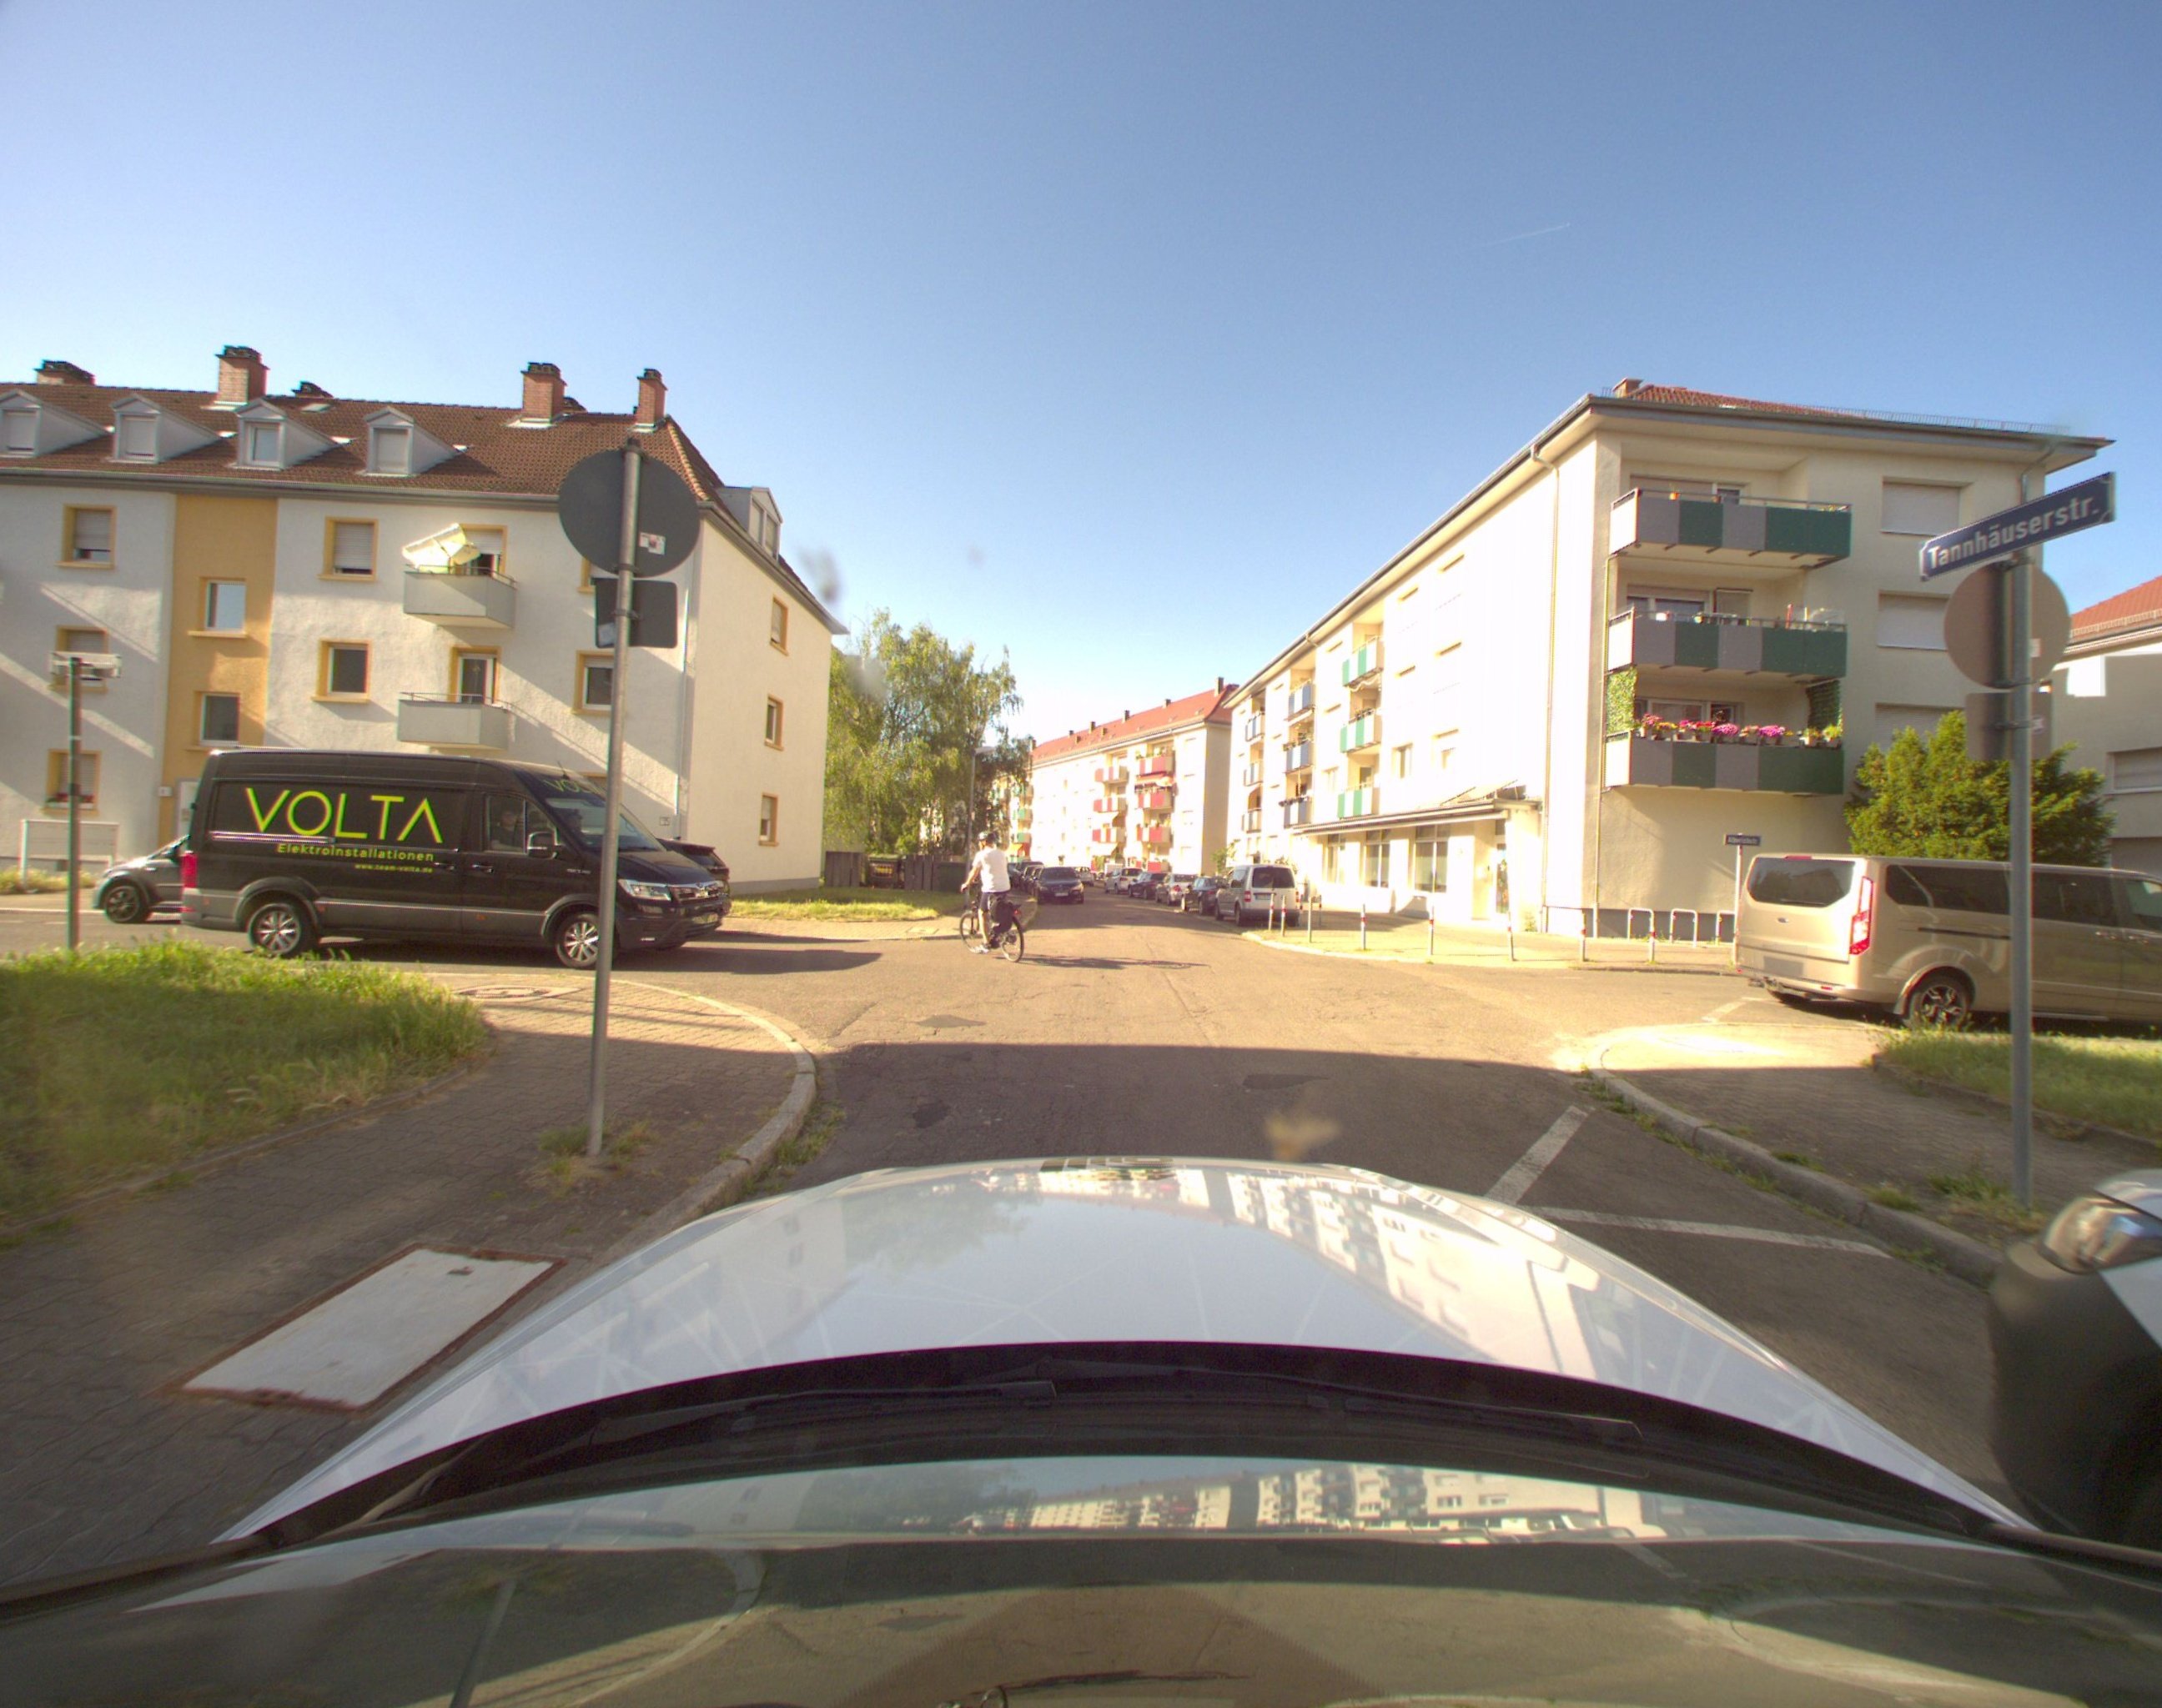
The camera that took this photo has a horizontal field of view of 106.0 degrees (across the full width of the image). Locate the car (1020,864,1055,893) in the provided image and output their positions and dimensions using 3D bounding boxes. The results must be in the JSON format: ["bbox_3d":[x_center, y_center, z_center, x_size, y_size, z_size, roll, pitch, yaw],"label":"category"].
[{"bbox_3d":[-2.348,1.295,43.463,1.554,1.442,3.957,-1,-1,-8],"label":"car"}]

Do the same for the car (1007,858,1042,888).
[{"bbox_3d":[-3.471,1.123,49.410,1.556,1.714,4.320,-1,-1,-11],"label":"car"}]

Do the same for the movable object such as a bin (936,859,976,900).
[{"bbox_3d":[-4.463,0.909,29.172,1.215,1.380,0.768,3,-1,3],"label":"movable object such as a bin"}]

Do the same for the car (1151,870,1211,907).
[{"bbox_3d":[4.426,1.500,36.732,1.675,1.447,4.715,2,0,-5],"label":"car"}]

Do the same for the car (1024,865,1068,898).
[{"bbox_3d":[-1.685,1.251,38.294,1.677,1.442,4.268,-1,-1,-8],"label":"car"}]

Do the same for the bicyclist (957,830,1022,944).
[{"bbox_3d":[-1.335,0.470,11.797,0.599,1.579,0.899,3,-1,-26],"label":"bicyclist"}]

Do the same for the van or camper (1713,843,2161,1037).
[{"bbox_3d":[11.127,0.977,10.034,5.107,2.013,2.000,2,1,-1],"label":"van or camper"}]

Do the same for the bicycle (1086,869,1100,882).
[{"bbox_3d":[1.020,1.844,70.378,0.499,1.020,1.828,1,-1,-21],"label":"bicycle"}]

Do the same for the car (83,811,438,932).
[{"bbox_3d":[-13.375,0.295,13.467,3.977,1.789,1.719,1,-2,0],"label":"car"}]

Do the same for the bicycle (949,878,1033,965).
[{"bbox_3d":[-1.337,0.928,11.763,0.630,1.115,1.801,3,-1,-25],"label":"bicycle"}]

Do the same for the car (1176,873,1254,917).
[{"bbox_3d":[4.922,1.468,30.490,1.676,1.407,4.535,2,0,-7],"label":"car"}]

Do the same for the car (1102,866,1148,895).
[{"bbox_3d":[2.597,1.538,49.174,1.695,1.656,4.372,1,-1,-12],"label":"car"}]

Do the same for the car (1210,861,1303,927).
[{"bbox_3d":[5.250,1.145,24.893,1.743,1.824,4.126,-1,-1,-4],"label":"car"}]

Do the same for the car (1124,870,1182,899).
[{"bbox_3d":[3.681,1.553,42.537,1.695,1.432,4.667,1,-1,-12],"label":"car"}]

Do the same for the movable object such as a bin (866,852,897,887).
[{"bbox_3d":[-8.367,0.634,34.255,1.058,1.435,1.002,0,-1,-2],"label":"movable object such as a bin"}]

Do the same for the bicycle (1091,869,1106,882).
[{"bbox_3d":[1.536,1.872,70.871,0.619,0.978,1.883,-1,2,-21],"label":"bicycle"}]

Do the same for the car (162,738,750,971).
[{"bbox_3d":[-7.741,0.015,10.584,5.923,2.545,1.999,2,-1,-1],"label":"car"}]

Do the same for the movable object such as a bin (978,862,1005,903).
[{"bbox_3d":[-3.142,0.995,28.759,0.773,1.393,1.416,2,-1,-1],"label":"movable object such as a bin"}]

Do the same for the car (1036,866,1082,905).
[{"bbox_3d":[-0.955,1.233,33.212,1.675,1.453,4.613,-1,-1,-4],"label":"car"}]

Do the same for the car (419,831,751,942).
[{"bbox_3d":[-8.209,0.541,13.778,4.473,1.664,1.719,1,-2,0],"label":"car"}]

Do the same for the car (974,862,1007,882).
[{"bbox_3d":[-7.172,1.415,64.260,1.698,1.389,4.131,2,-1,-18],"label":"car"}]

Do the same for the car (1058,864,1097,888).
[{"bbox_3d":[-0.289,1.598,61.518,1.770,1.635,4.016,0,1,-18],"label":"car"}]
